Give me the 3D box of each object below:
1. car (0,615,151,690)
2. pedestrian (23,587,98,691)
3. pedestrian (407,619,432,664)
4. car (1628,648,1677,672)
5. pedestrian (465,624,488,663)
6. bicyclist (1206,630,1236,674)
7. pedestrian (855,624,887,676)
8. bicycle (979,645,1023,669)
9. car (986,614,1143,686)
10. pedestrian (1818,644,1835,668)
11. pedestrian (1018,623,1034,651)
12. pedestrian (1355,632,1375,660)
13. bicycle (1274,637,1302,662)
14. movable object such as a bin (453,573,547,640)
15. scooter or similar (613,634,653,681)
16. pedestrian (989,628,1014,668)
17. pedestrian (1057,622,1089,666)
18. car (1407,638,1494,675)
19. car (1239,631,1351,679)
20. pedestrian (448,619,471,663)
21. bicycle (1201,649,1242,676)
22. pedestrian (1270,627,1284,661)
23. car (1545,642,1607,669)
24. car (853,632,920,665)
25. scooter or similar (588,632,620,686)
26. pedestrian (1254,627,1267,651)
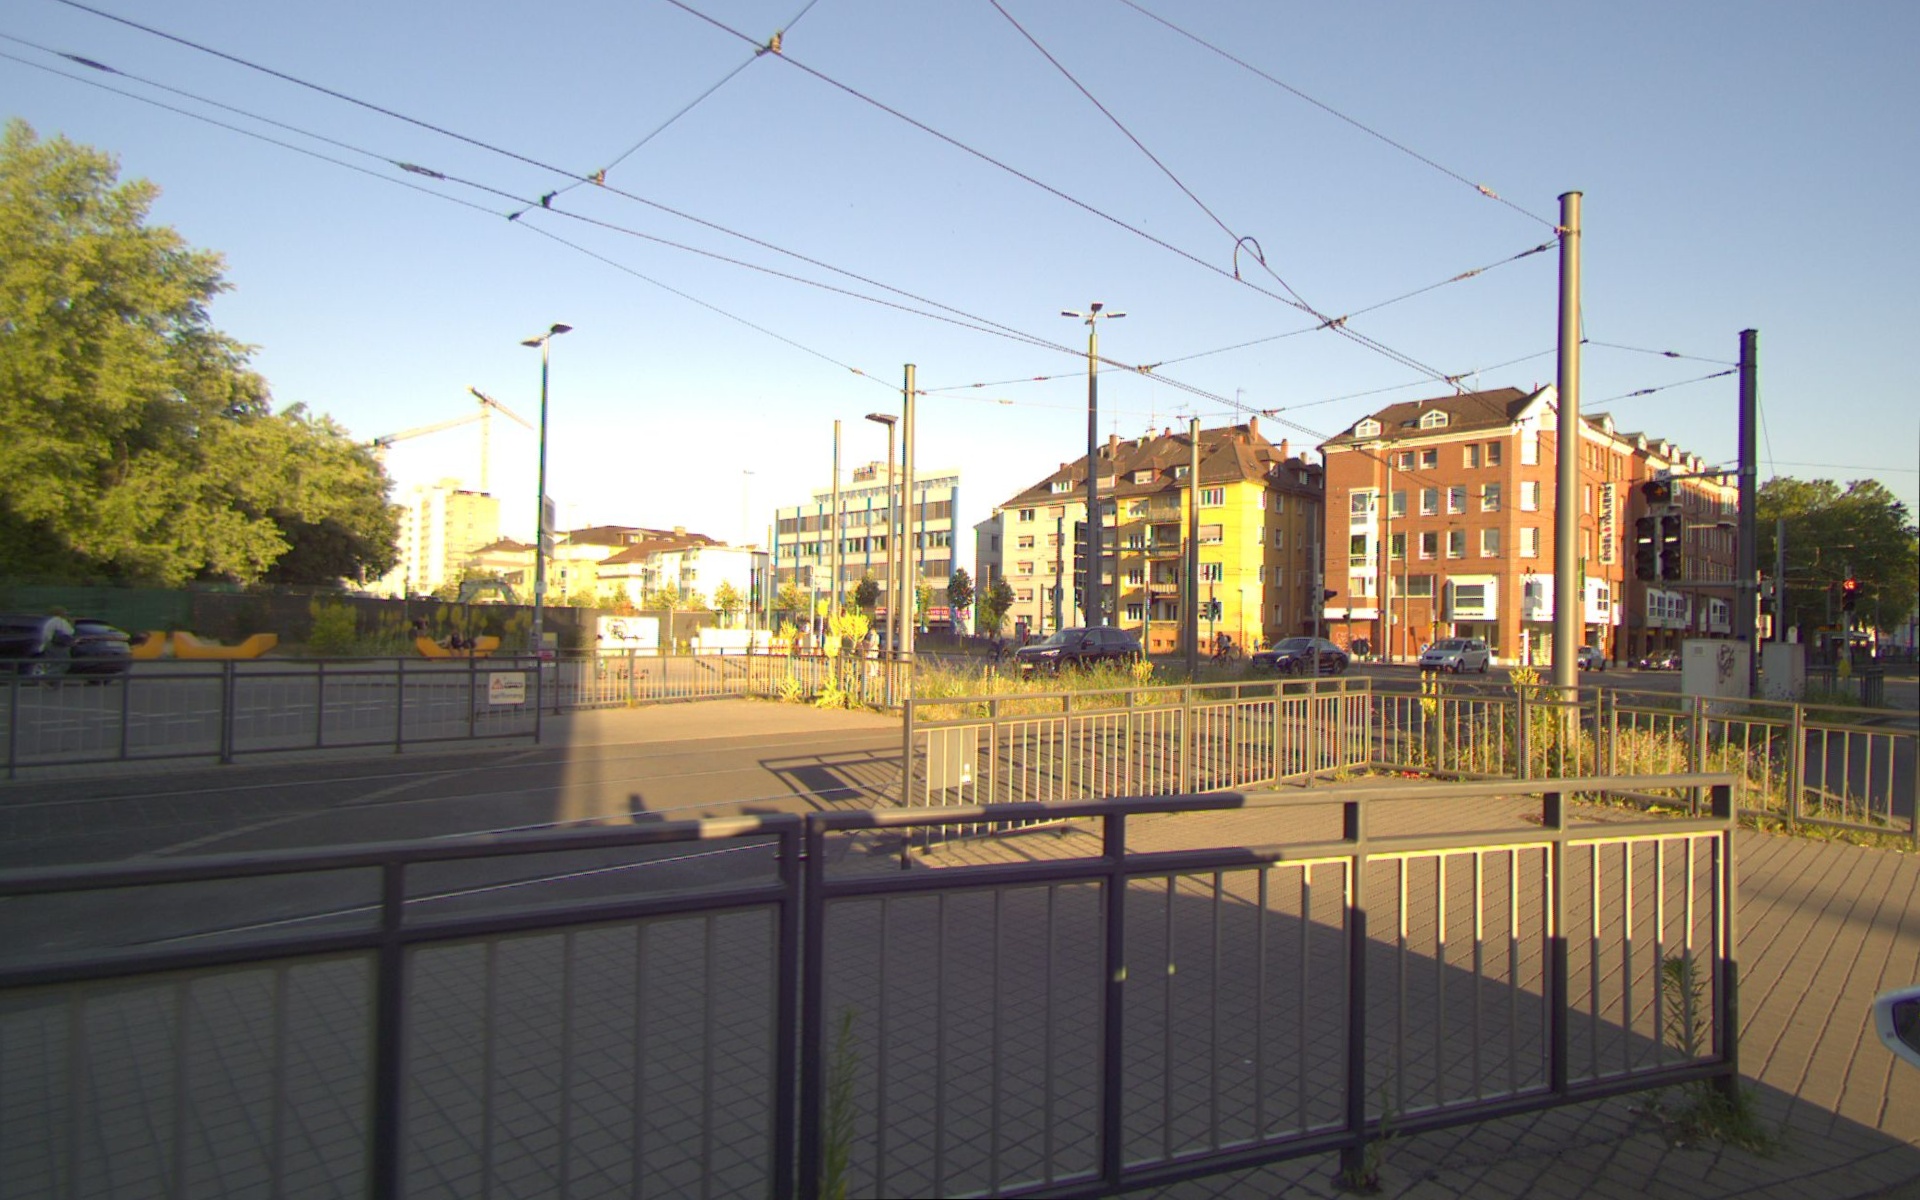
[{"bbox_3d":[-20.091,1.090,21.394,3.927,1.505,1.997,1,-2,-9],"label":"car"},{"bbox_3d":[-16.944,0.741,18.937,0.753,1.917,0.727,2,-1,-17],"label":"pedestrian"},{"bbox_3d":[-20.520,1.561,38.118,0.526,1.680,0.599,0,-2,30],"label":"pedestrian"},{"bbox_3d":[48.810,4.188,70.807,4.448,1.606,1.975,3,-3,-43],"label":"car"},{"bbox_3d":[-18.841,1.684,39.132,0.620,1.515,0.634,2,-2,-41],"label":"pedestrian"},{"bbox_3d":[10.244,2.040,39.462,0.970,1.711,0.658,2,-2,-35],"label":"bicyclist"},{"bbox_3d":[-3.289,1.850,37.098,0.874,1.892,0.970,2,-2,-27],"label":"pedestrian"},{"bbox_3d":[2.006,2.766,49.064,1.979,1.074,0.891,0,-2,39],"label":"bicycle"},{"bbox_3d":[3.145,1.447,29.487,4.779,1.926,1.974,3,-2,-44],"label":"car"},{"bbox_3d":[74.763,4.838,86.618,0.720,2.040,0.979,3,0,-42],"label":"pedestrian"},{"bbox_3d":[4.428,2.481,67.351,0.708,1.892,0.884,0,-2,30],"label":"pedestrian"},{"bbox_3d":[27.493,3.123,68.173,0.929,1.893,0.835,2,0,40],"label":"pedestrian"},{"bbox_3d":[18.361,2.765,56.287,0.611,1.343,2.003,2,0,45],"label":"bicycle"},{"bbox_3d":[-23.906,0.382,52.270,4.288,3.271,1.987,2,-2,-27],"label":"movable object such as a bin"},{"bbox_3d":[-9.319,1.631,28.657,0.507,1.288,1.257,1,-2,10],"label":"scooter or similar"},{"bbox_3d":[2.011,2.351,49.068,0.833,1.936,0.891,0,-2,38],"label":"pedestrian"},{"bbox_3d":[5.179,1.990,46.038,1.081,1.970,1.023,0,-2,30],"label":"pedestrian"},{"bbox_3d":[22.645,2.585,46.375,4.074,1.606,1.980,2,-2,-36],"label":"car"},{"bbox_3d":[12.344,1.999,36.860,4.555,1.606,1.975,3,-3,-43],"label":"car"},{"bbox_3d":[-19.237,1.573,38.586,0.528,1.680,0.597,0,-2,42],"label":"pedestrian"},{"bbox_3d":[10.291,2.460,39.495,1.606,1.021,0.662,2,-2,-35],"label":"bicycle"},{"bbox_3d":[17.855,2.496,56.583,0.497,1.893,0.559,2,0,44],"label":"pedestrian"},{"bbox_3d":[35.718,3.222,58.237,4.162,1.467,1.657,3,-2,-37],"label":"car"},{"bbox_3d":[-4.028,2.596,54.353,1.975,1.639,4.534,2,-2,-27],"label":"car"},{"bbox_3d":[-10.037,1.648,28.353,0.507,1.465,1.256,1,-2,-4],"label":"scooter or similar"},{"bbox_3d":[24.781,3.200,82.815,0.792,1.893,0.662,2,0,28],"label":"pedestrian"}]
